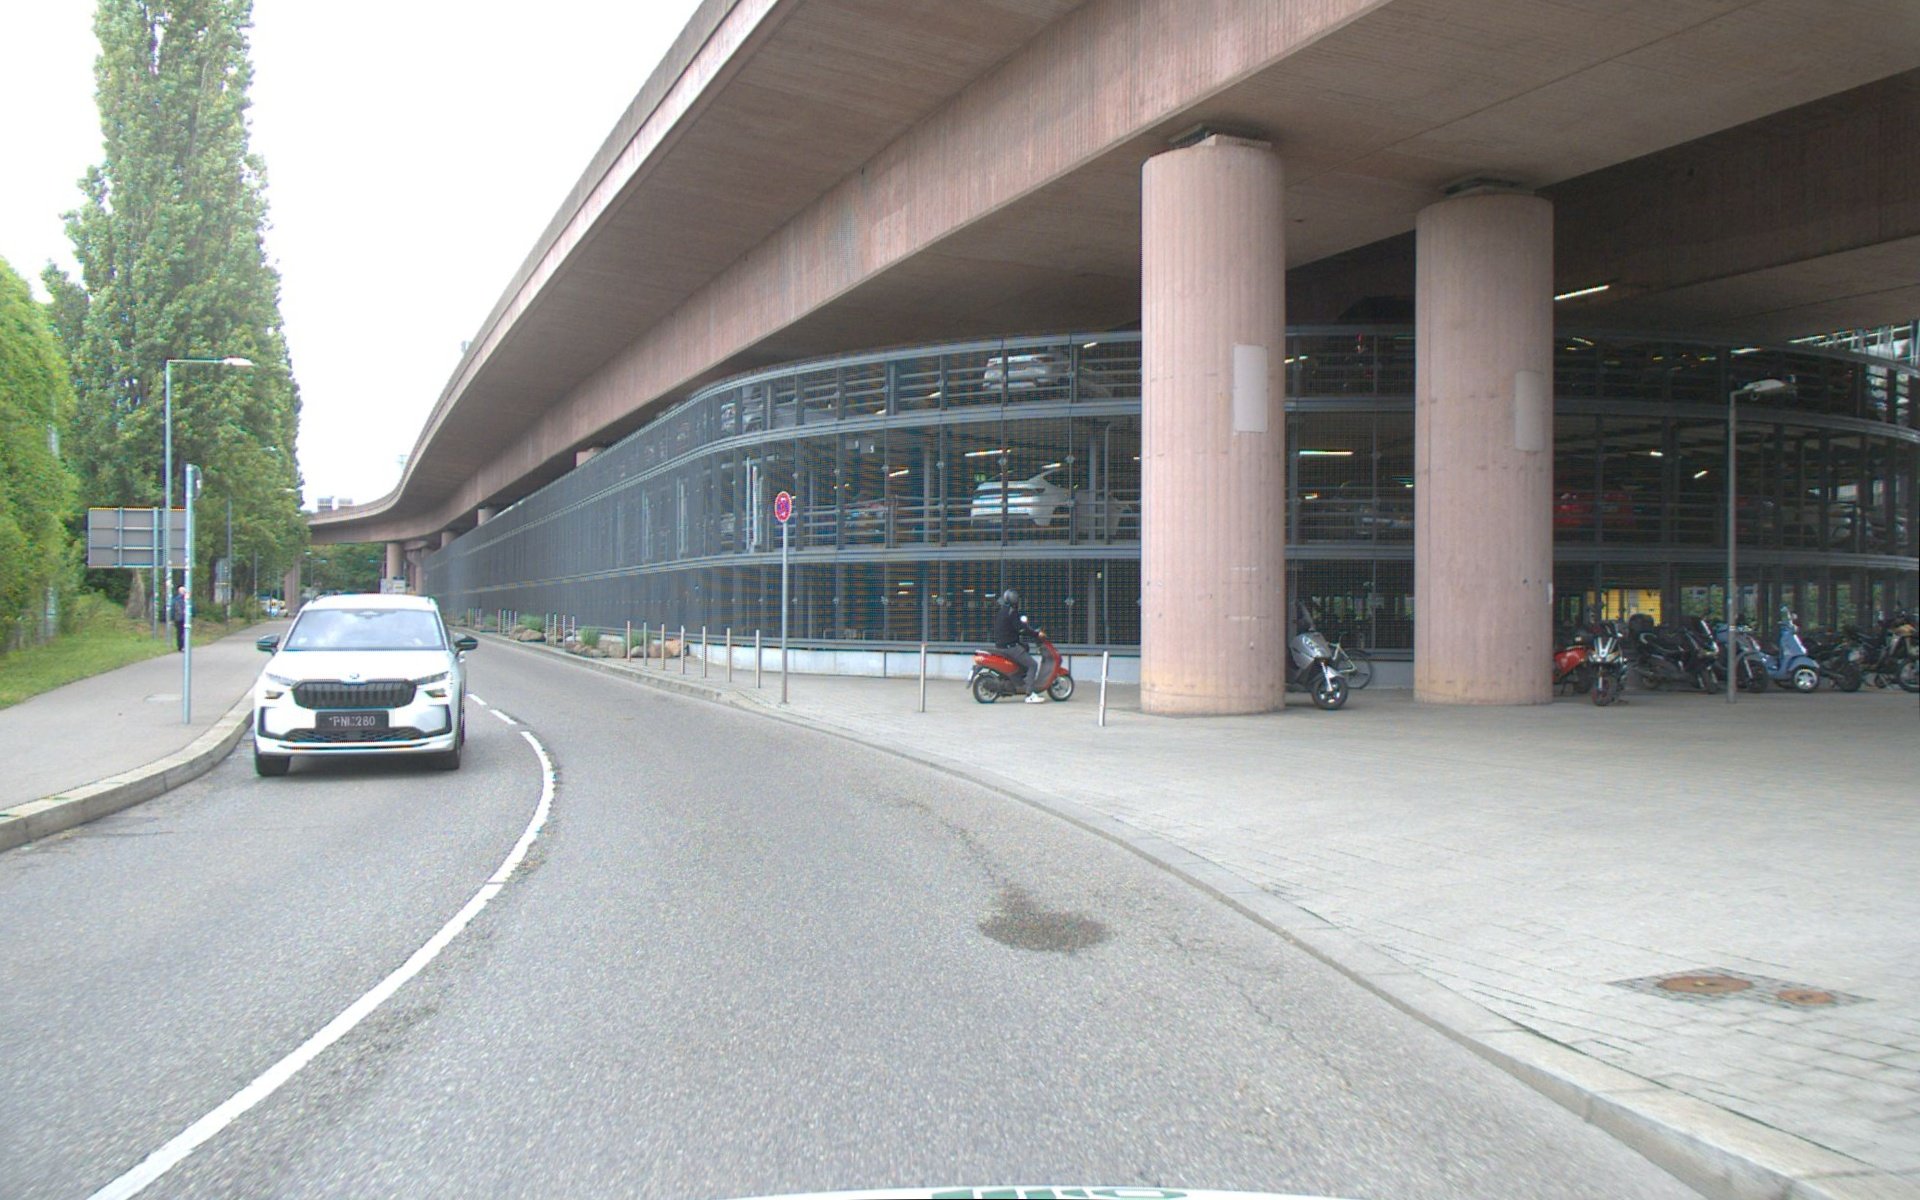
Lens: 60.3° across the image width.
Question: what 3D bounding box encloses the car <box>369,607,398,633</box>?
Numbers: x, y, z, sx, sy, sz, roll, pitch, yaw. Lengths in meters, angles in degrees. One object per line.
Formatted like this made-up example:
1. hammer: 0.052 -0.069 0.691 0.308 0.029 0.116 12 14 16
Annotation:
1. car: -41.123 1.436 117.947 1.813 1.741 3.682 0 1 -21

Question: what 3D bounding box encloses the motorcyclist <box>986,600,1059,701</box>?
1. motorcyclist: 0.927 0.733 24.553 0.855 1.444 0.759 0 1 -23

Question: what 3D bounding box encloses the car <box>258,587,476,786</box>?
1. car: -6.004 0.742 16.928 1.836 1.713 4.381 0 1 -19

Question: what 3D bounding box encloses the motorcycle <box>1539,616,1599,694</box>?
1. motorcycle: 10.100 0.901 27.450 0.510 1.241 1.150 0 1 -3

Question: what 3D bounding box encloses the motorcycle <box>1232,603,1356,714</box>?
1. motorcycle: 4.712 0.802 23.428 0.637 1.480 1.739 0 1 -37

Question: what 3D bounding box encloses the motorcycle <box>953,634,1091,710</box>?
1. motorcycle: 0.921 1.053 24.545 1.924 1.040 0.743 0 1 -24

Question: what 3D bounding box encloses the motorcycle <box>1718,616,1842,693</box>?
1. motorcycle: 14.380 0.935 29.069 0.662 1.241 2.066 0 1 -20

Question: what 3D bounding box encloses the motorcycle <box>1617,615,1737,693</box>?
1. motorcycle: 12.388 0.914 28.644 0.662 1.241 2.066 0 1 -20

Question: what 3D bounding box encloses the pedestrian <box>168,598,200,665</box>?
1. pedestrian: -21.335 0.857 45.476 0.793 1.812 0.913 0 1 -25

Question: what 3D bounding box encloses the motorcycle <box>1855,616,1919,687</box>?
1. motorcycle: 17.465 0.938 30.200 0.662 1.241 2.066 0 1 -20

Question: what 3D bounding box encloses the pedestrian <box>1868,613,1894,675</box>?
1. pedestrian: 30.614 1.467 54.997 0.518 2.049 0.572 1 -1 -11

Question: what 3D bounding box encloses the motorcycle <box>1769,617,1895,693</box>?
1. motorcycle: 15.488 0.955 29.439 0.662 1.241 2.066 0 1 -20

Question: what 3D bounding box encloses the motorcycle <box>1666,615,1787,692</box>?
1. motorcycle: 13.337 0.912 28.851 0.662 1.241 2.066 0 1 -20

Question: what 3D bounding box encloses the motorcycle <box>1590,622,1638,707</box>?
1. motorcycle: 9.430 0.929 23.876 0.509 1.191 1.151 0 -2 15

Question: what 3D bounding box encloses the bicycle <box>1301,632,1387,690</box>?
1. bicycle: 6.794 1.083 29.313 1.441 0.993 0.452 0 1 4

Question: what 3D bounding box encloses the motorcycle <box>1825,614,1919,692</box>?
1. motorcycle: 16.705 0.924 29.823 0.662 1.308 2.066 0 1 -20
